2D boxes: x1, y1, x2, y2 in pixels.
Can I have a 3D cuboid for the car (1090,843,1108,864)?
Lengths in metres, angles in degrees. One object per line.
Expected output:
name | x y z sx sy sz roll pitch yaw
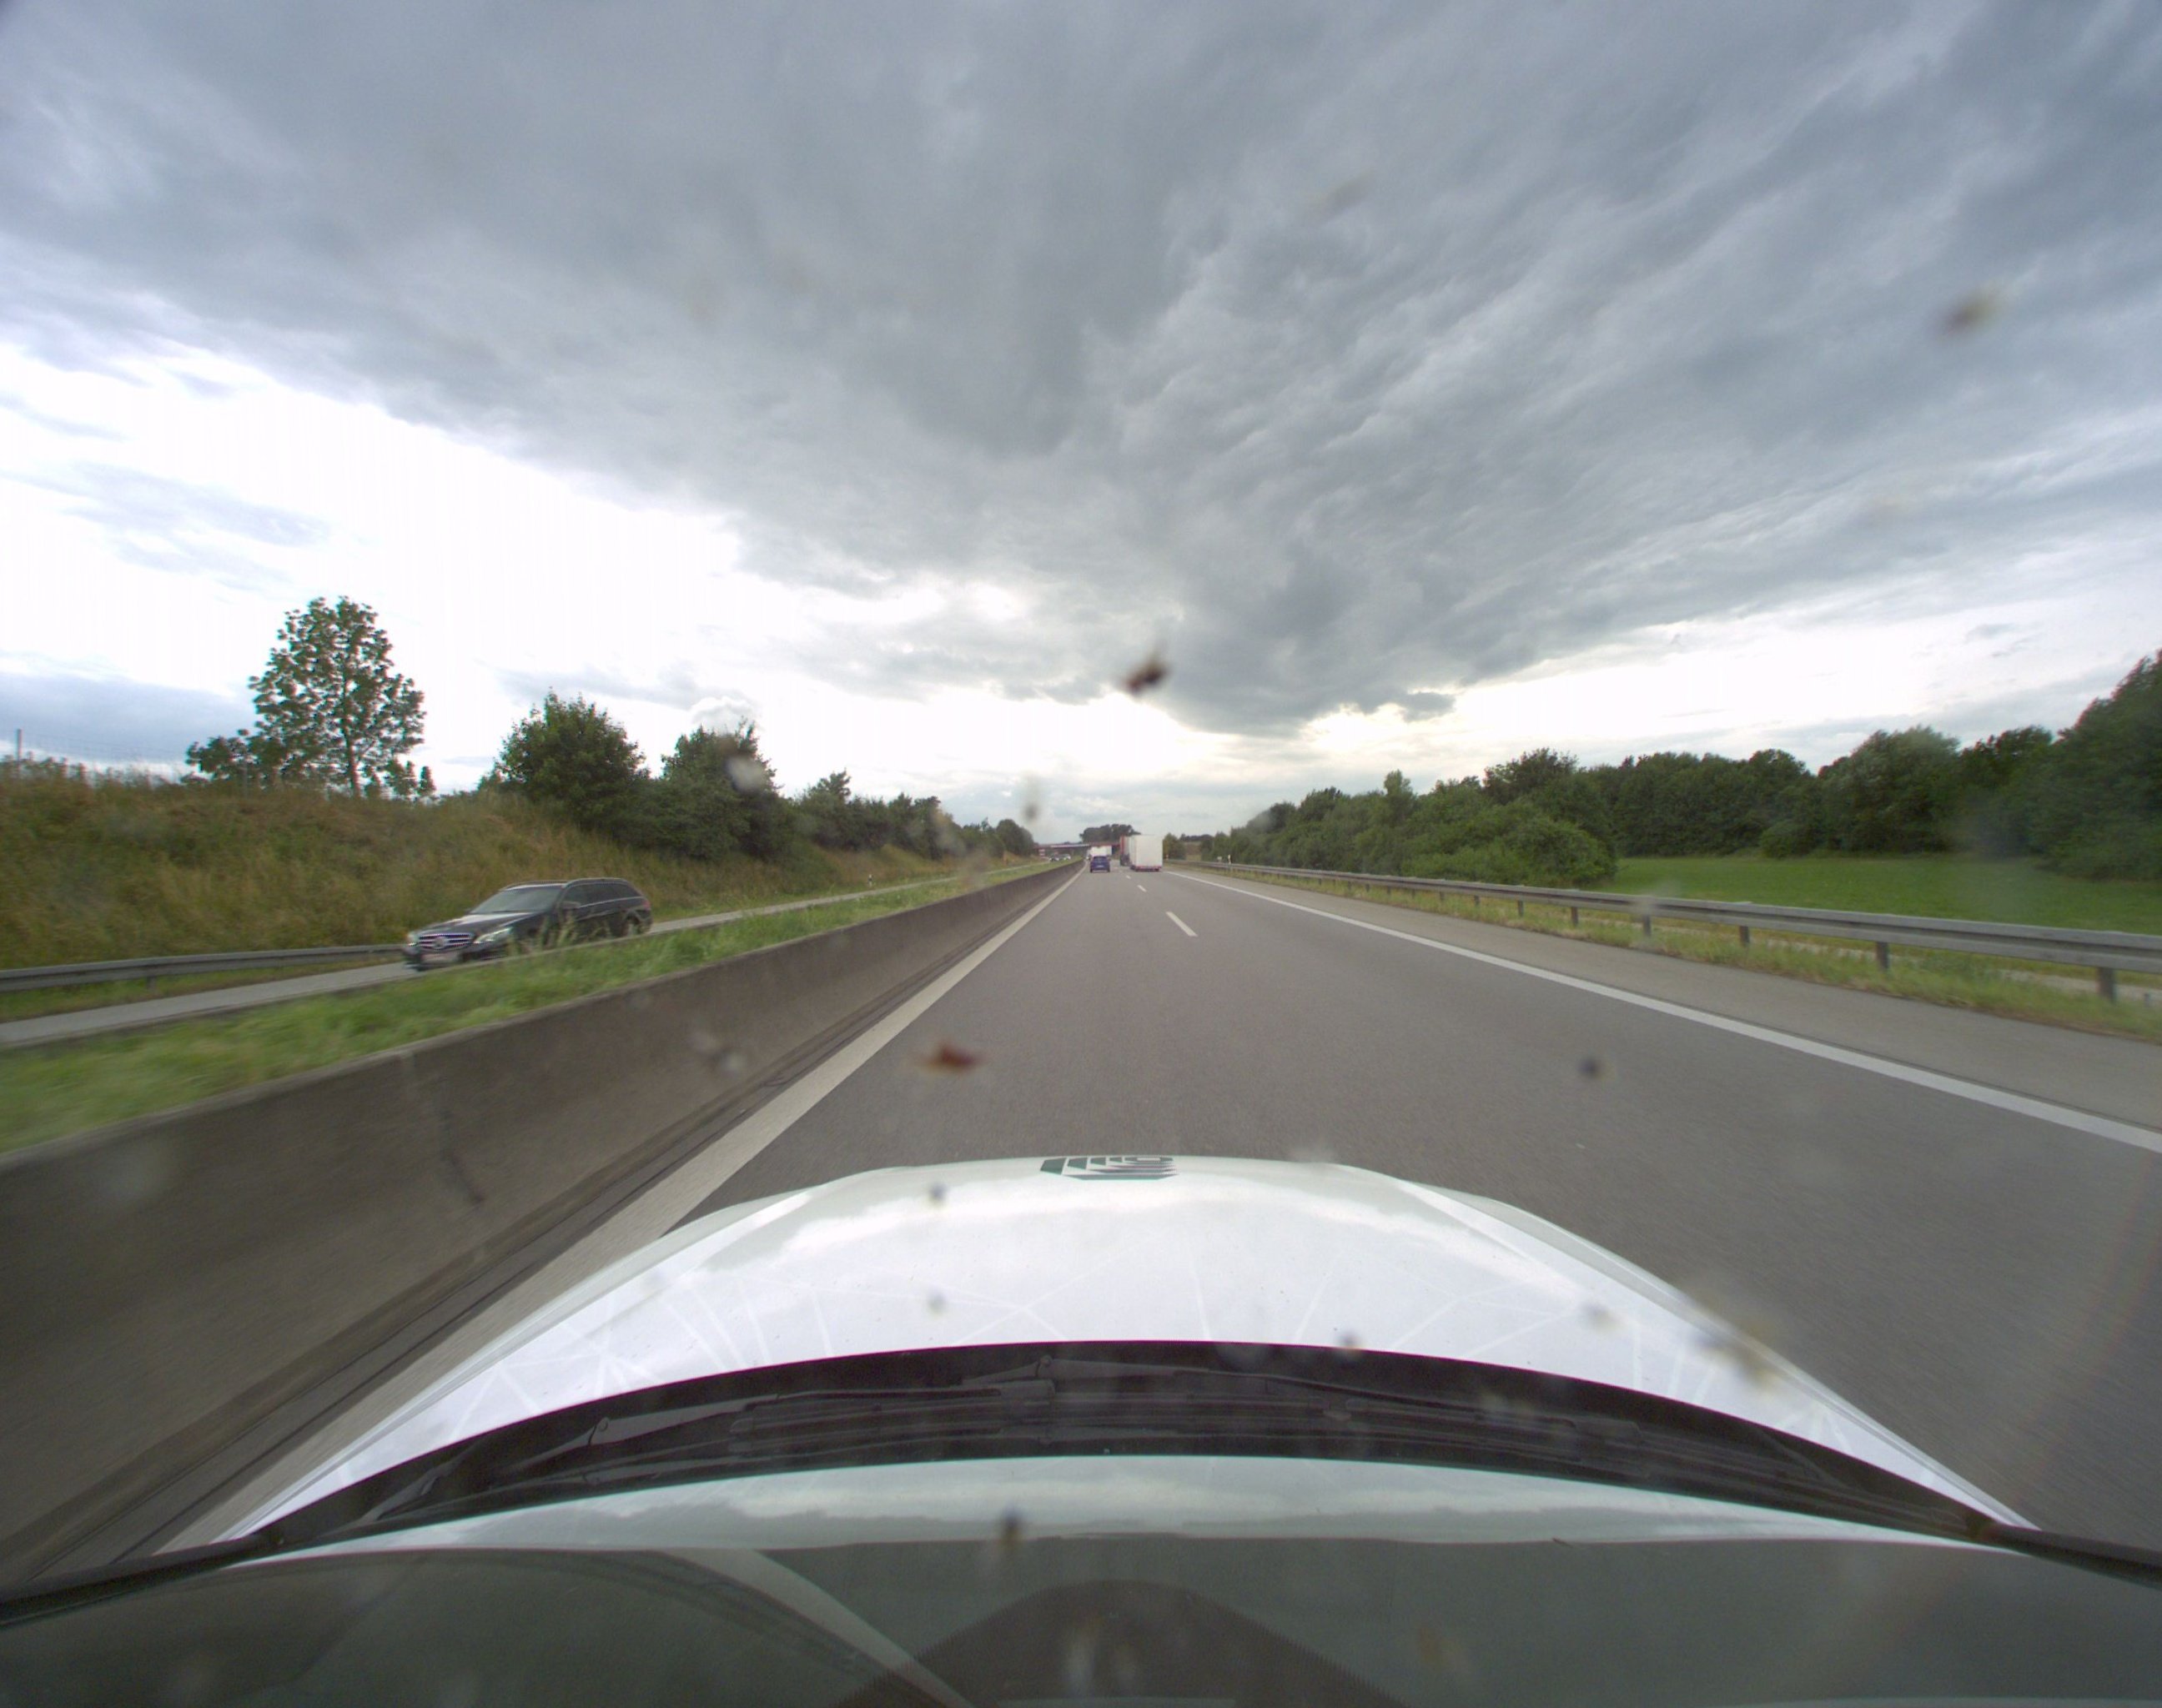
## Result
car | 2.250 -0.083 103.259 2.123 2.482 5.839 -2 0 0

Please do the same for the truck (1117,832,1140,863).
truck | 6.555 -0.906 112.552 2.665 4.045 5.511 -2 0 0

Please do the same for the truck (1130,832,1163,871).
truck | 5.617 -0.199 71.008 2.406 3.222 7.144 -1 0 1

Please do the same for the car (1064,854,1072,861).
car | -3.956 0.942 248.385 1.973 2.013 5.130 -1 0 0

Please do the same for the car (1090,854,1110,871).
car | 1.609 0.703 69.462 1.657 1.407 3.650 -1 0 2

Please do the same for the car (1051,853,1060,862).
car | -7.620 0.919 239.848 2.162 2.465 6.723 -4 0 1

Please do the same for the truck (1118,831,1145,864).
truck | 6.565 -0.870 107.198 2.665 4.045 11.106 -2 0 0

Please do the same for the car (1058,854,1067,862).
car | -4.100 0.923 181.126 1.912 1.694 4.598 -3 0 1

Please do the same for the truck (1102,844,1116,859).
truck | 7.587 -0.633 219.641 3.101 3.689 9.319 -4 0 -1

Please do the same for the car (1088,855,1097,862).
car | 2.801 1.108 198.086 1.927 1.643 4.906 -2 0 2

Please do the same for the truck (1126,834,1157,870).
truck | 5.745 -0.199 78.200 2.421 3.243 7.248 -1 0 1

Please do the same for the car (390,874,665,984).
car | -10.038 1.252 15.328 1.839 1.497 4.582 -4 0 2
